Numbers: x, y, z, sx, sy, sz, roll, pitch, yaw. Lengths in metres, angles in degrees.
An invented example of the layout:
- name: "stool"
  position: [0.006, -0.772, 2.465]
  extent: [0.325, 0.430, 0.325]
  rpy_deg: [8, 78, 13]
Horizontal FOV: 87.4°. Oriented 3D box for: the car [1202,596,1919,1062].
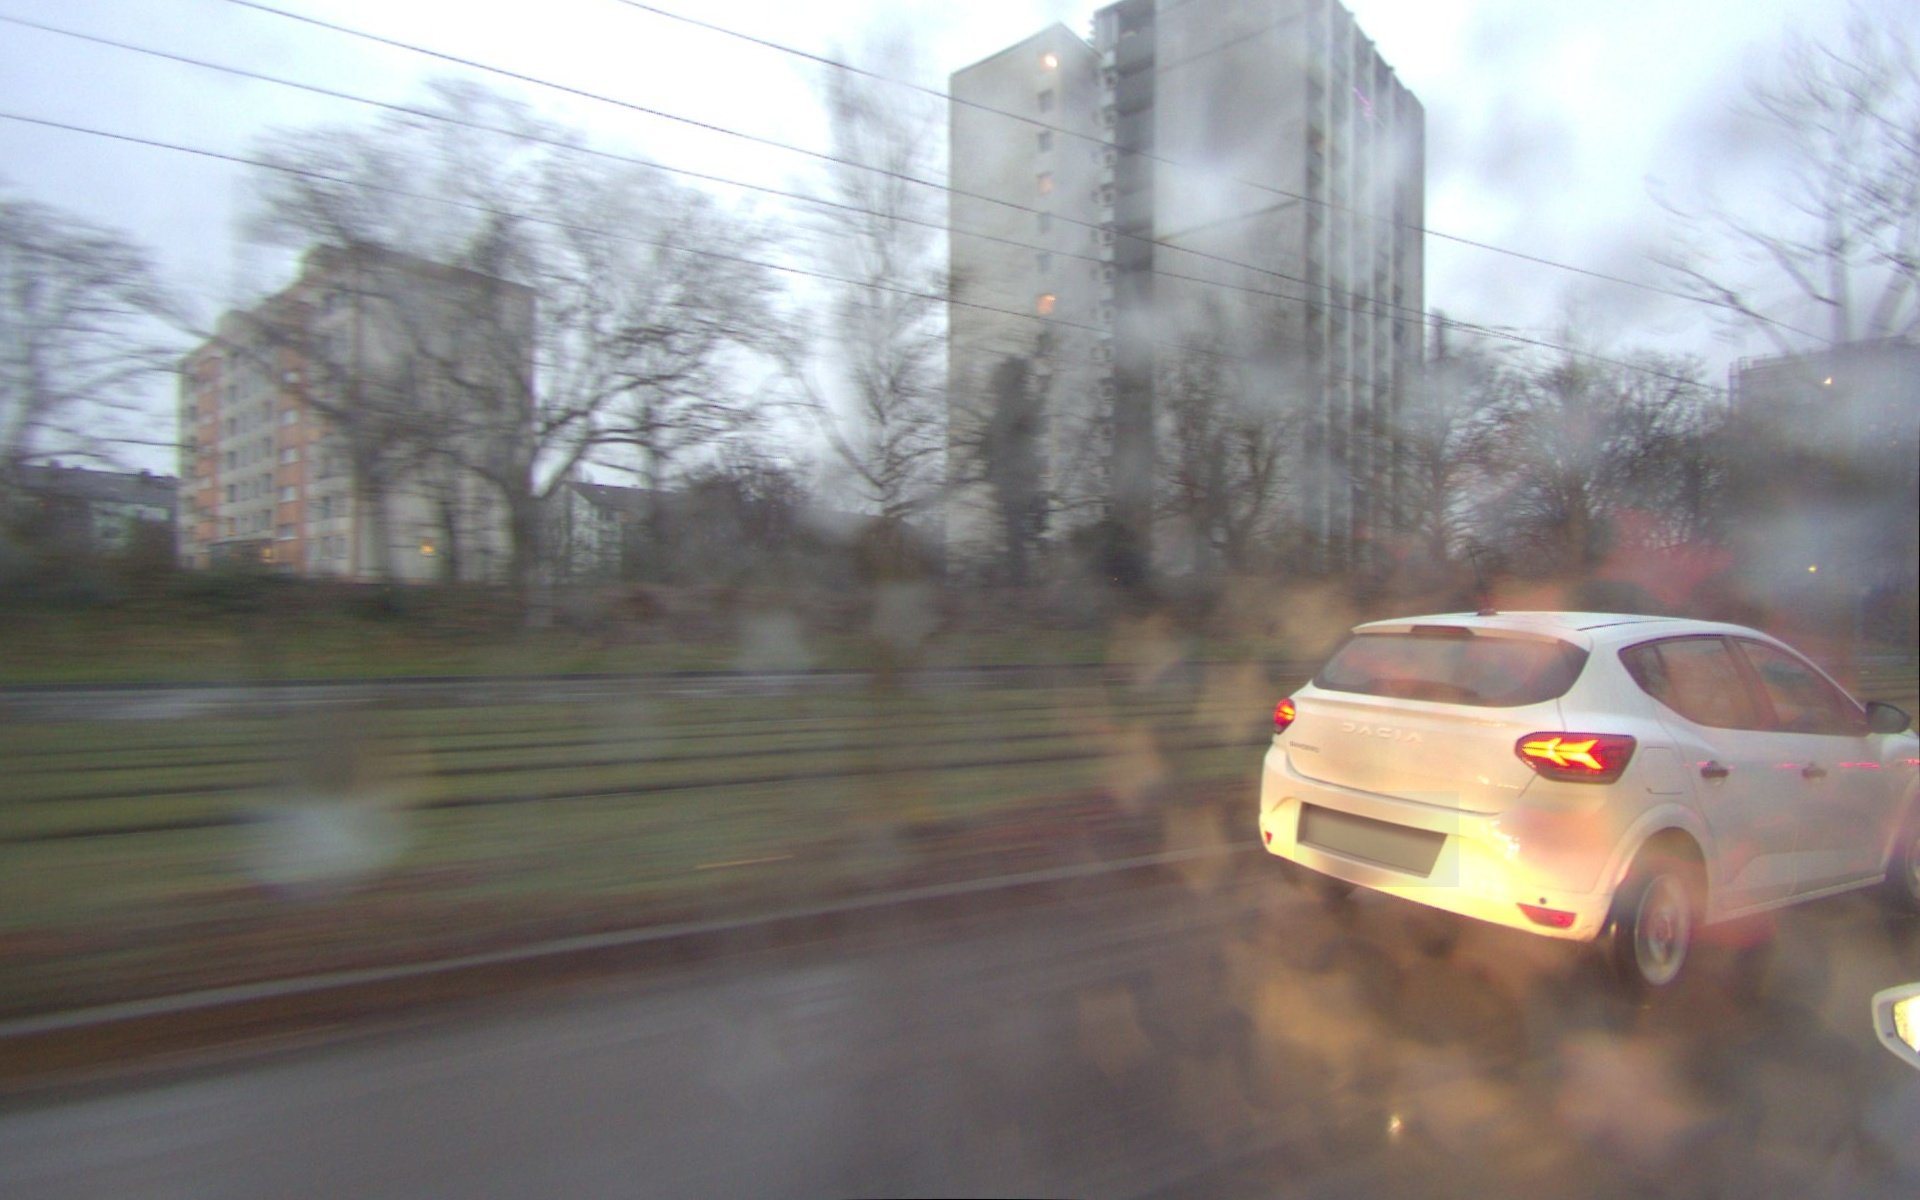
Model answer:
- name: "car"
  position: [3.353, 0.802, 5.093]
  extent: [4.085, 1.545, 1.701]
  rpy_deg: [1, -1, -29]
